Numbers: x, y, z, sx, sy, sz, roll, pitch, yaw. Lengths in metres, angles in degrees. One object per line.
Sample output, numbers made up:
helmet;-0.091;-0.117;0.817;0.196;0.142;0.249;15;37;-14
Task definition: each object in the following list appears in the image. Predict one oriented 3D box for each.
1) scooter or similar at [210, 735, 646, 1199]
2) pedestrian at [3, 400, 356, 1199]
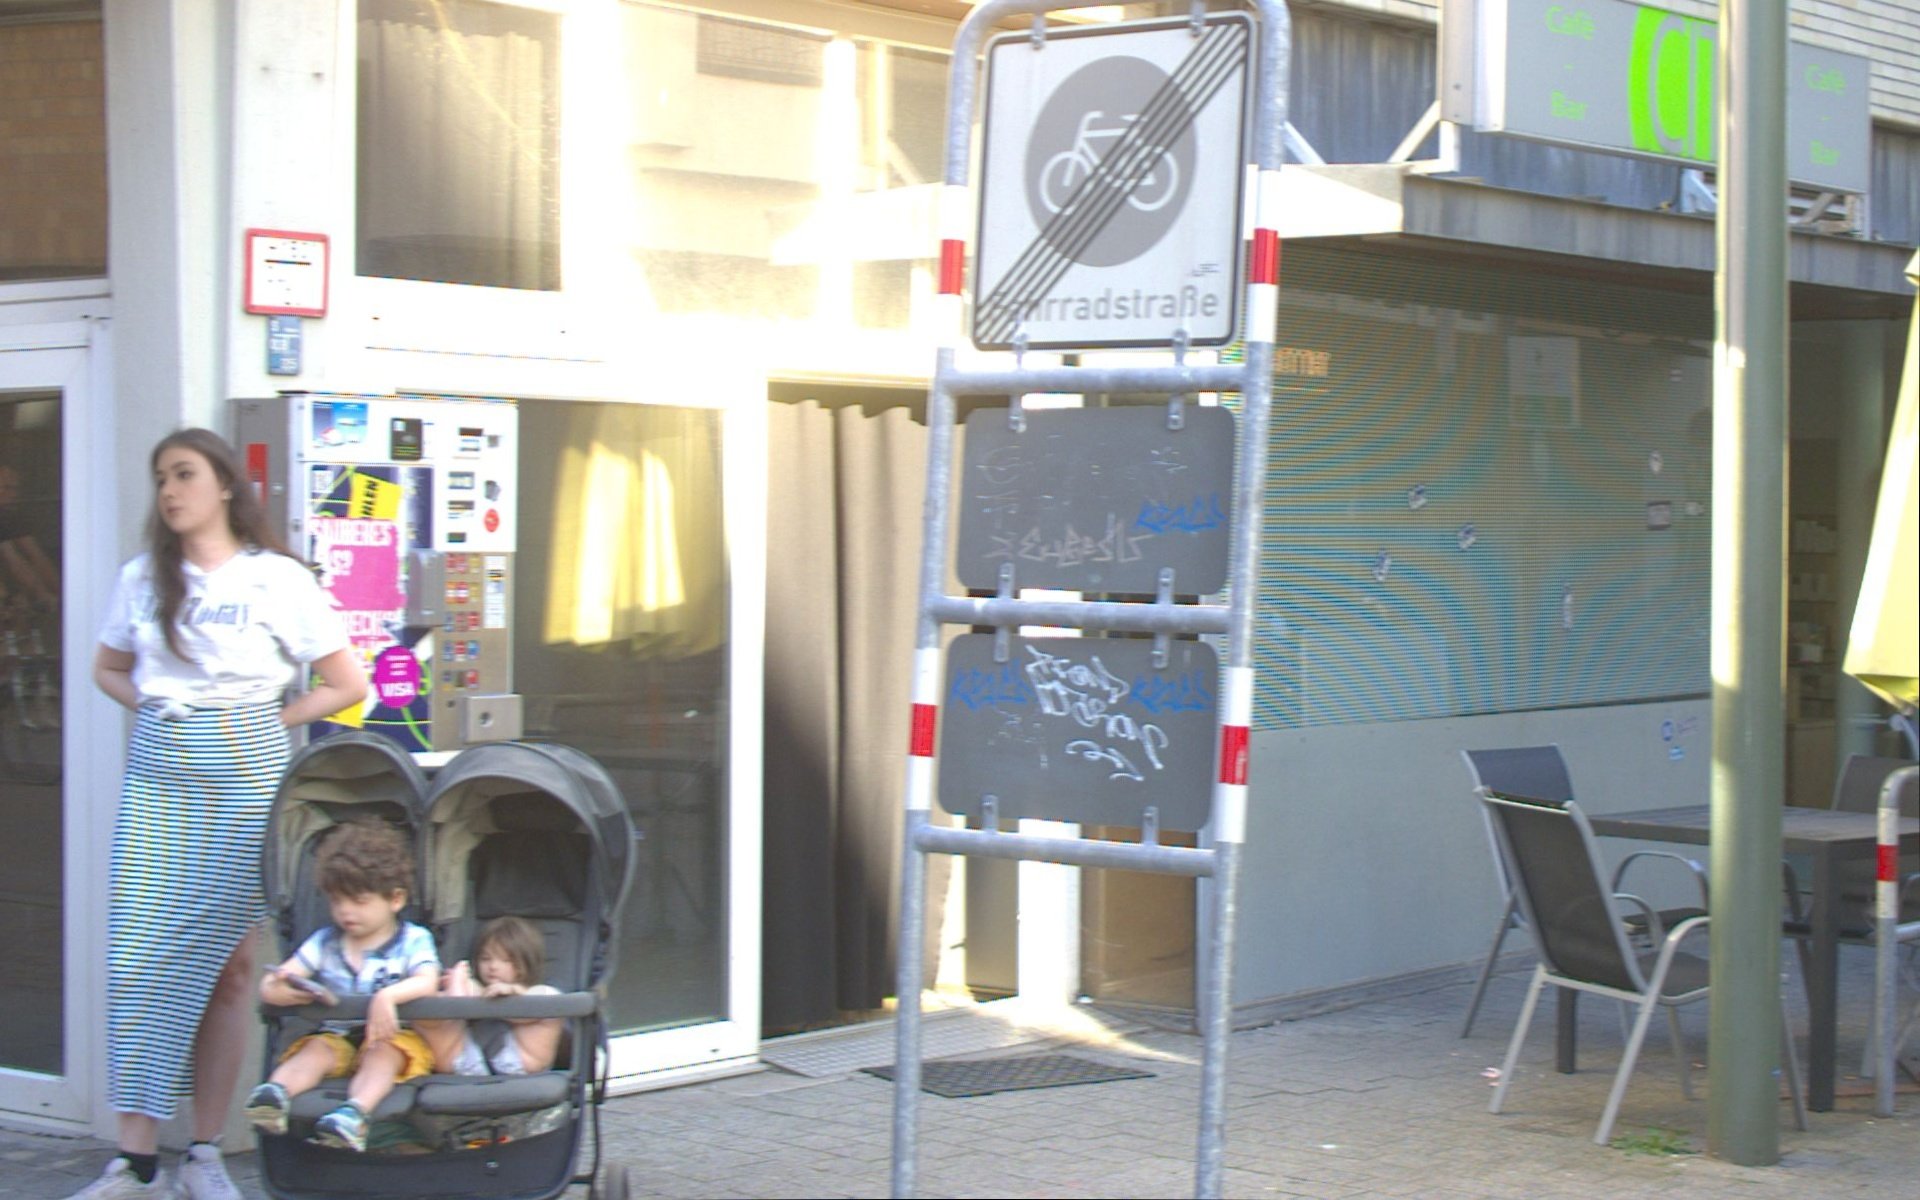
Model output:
scooter or similar;-1.048;0.876;6.857;0.796;1.140;0.954;0;2;-7
pedestrian;-1.708;0.476;7.607;0.657;1.813;0.571;-2;3;-8
